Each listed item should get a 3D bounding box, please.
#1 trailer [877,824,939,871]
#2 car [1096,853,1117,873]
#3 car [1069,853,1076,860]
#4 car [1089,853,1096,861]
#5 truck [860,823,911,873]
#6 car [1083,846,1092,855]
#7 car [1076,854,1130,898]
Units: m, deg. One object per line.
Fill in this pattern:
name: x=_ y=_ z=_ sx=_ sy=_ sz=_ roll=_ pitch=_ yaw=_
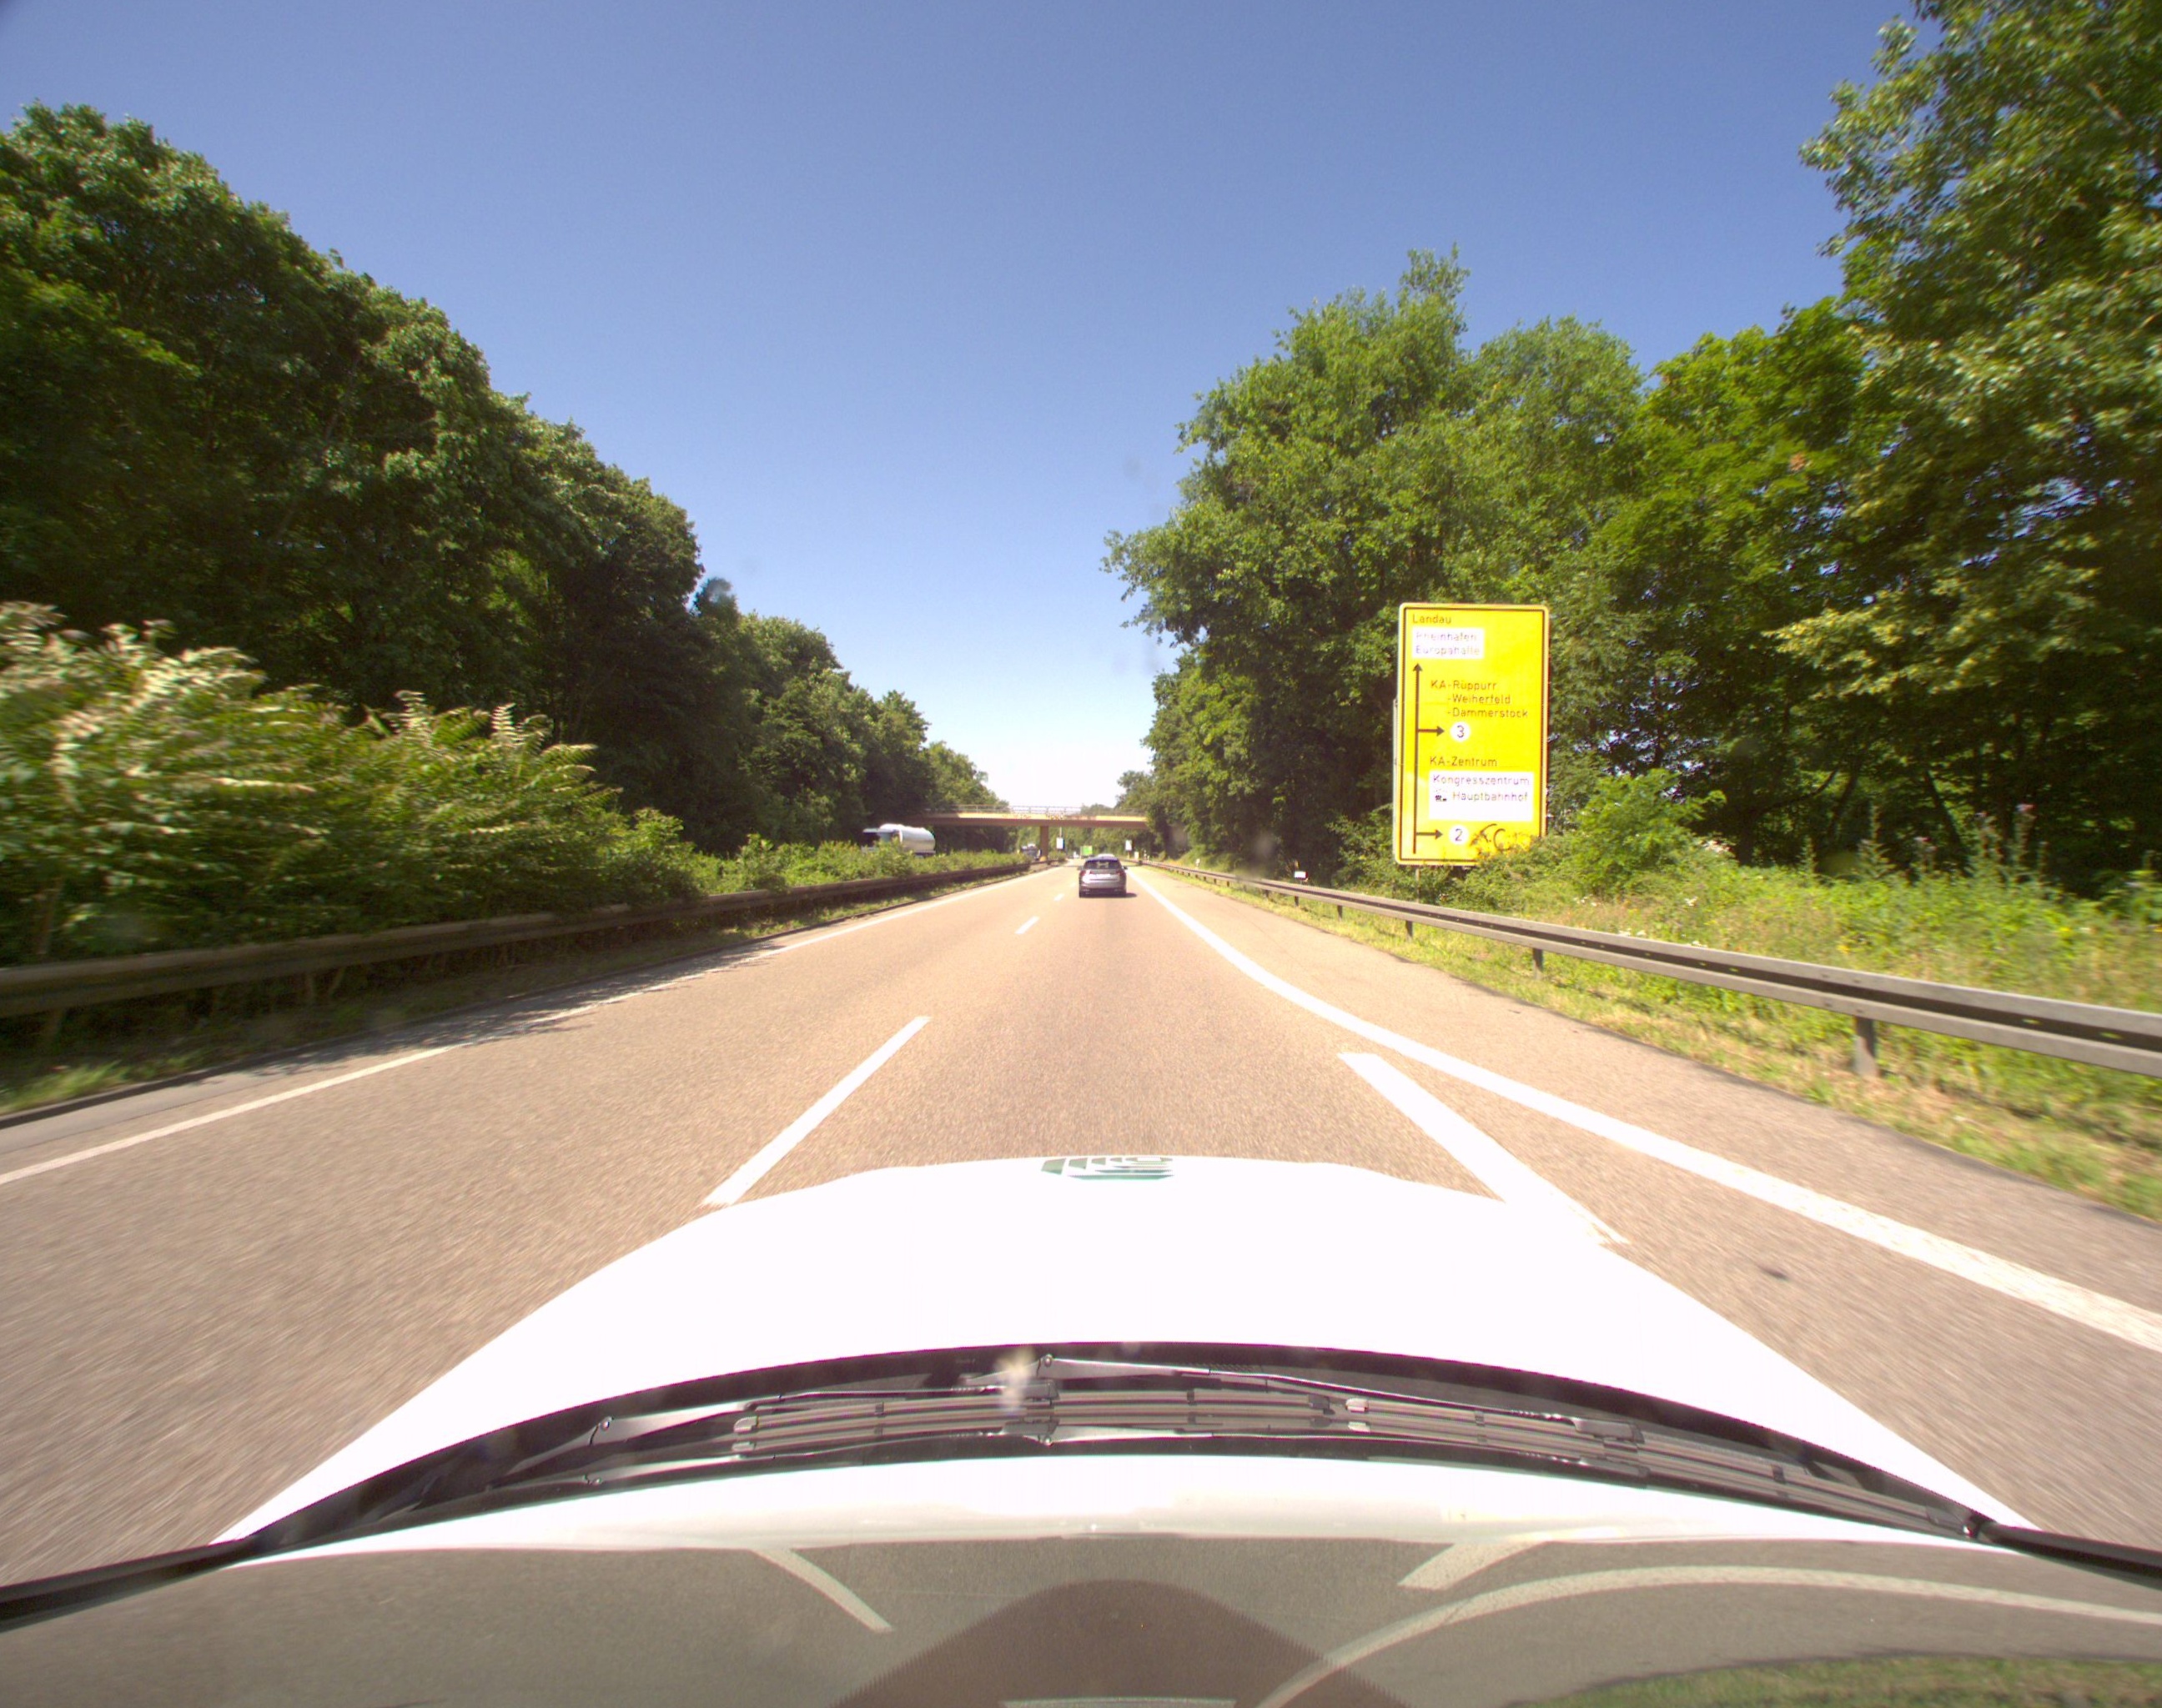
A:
trailer: x=-13.332 y=-0.456 z=63.697 sx=1.986 sy=3.402 sz=11.424 roll=0 pitch=0 yaw=2
car: x=1.983 y=0.656 z=62.385 sx=1.516 sy=1.446 sz=3.343 roll=0 pitch=0 yaw=3
car: x=-2.476 y=0.686 z=244.180 sx=1.986 sy=2.013 sz=4.002 roll=0 pitch=0 yaw=2
car: x=3.019 y=0.777 z=208.715 sx=1.757 sy=2.013 sz=3.589 roll=0 pitch=0 yaw=2
truck: x=-13.609 y=-0.422 z=56.919 sx=2.329 sy=3.342 sz=4.544 roll=0 pitch=0 yaw=2
car: x=1.898 y=-1.017 z=238.019 sx=2.738 sy=2.654 sz=4.002 roll=0 pitch=0 yaw=2
car: x=0.863 y=0.755 z=29.878 sx=1.832 sy=1.472 sz=3.627 roll=0 pitch=0 yaw=3
